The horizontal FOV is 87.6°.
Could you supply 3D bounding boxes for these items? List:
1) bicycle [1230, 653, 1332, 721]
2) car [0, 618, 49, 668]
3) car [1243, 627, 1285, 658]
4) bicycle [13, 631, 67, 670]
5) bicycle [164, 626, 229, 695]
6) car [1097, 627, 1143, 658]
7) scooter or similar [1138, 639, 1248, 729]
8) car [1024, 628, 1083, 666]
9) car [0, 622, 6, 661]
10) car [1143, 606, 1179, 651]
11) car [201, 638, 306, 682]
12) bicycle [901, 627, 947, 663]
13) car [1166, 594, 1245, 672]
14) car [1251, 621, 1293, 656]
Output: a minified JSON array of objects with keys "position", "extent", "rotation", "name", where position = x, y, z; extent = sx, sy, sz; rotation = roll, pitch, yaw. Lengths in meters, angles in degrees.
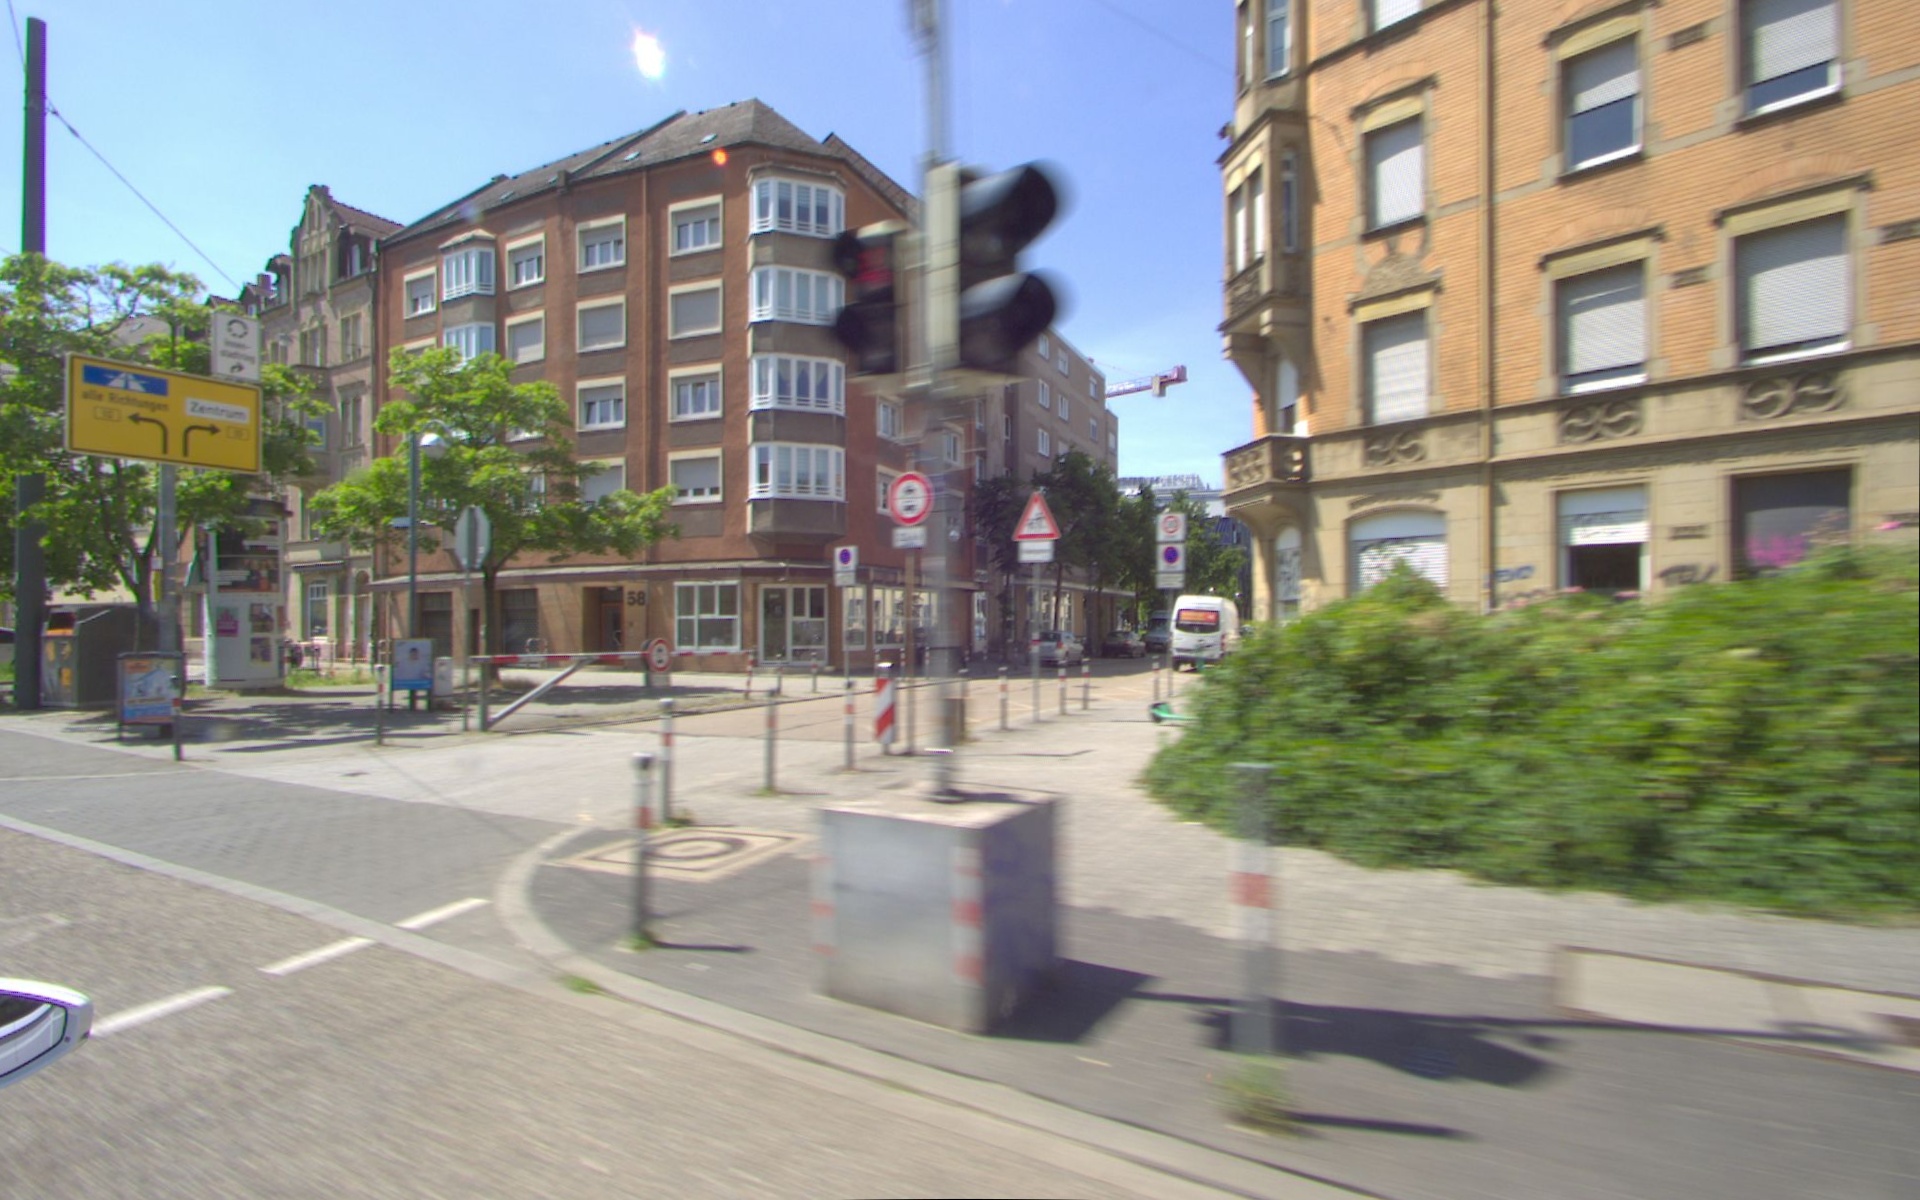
[{"position":[5.077,1.357,15.865],"extent":[1.469,1.005,0.488],"rotation":[-1,-3,38],"name":"bicycle"},{"position":[-33.236,1.404,33.064],"extent":[1.961,1.652,4.415],"rotation":[0,-3,7],"name":"car"},{"position":[17.340,2.418,57.011],"extent":[1.806,1.705,3.990],"rotation":[0,-3,24],"name":"car"},{"position":[-29.601,1.629,32.264],"extent":[0.730,1.208,2.349],"rotation":[2,-3,-29],"name":"bicycle"},{"position":[-14.899,1.162,19.532],"extent":[1.525,1.306,0.513],"rotation":[-1,-2,34],"name":"bicycle"},{"position":[8.253,2.194,51.527],"extent":[1.633,1.511,3.828],"rotation":[0,-3,20],"name":"car"},{"position":[3.330,1.177,14.340],"extent":[1.469,1.220,0.488],"rotation":[-1,-3,38],"name":"scooter or similar"},{"position":[3.828,1.912,40.647],"extent":[1.573,1.482,3.438],"rotation":[0,-3,20],"name":"car"},{"position":[-35.839,1.404,34.521],"extent":[1.788,1.417,4.002],"rotation":[0,-3,8],"name":"car"},{"position":[12.433,1.809,61.753],"extent":[1.633,2.672,3.828],"rotation":[0,-3,20],"name":"car"},{"position":[-27.831,2.330,39.413],"extent":[4.539,1.620,1.988],"rotation":[-1,-3,36],"name":"car"},{"position":[-1.343,1.698,37.852],"extent":[0.693,1.303,2.718],"rotation":[0,-3,22],"name":"bicycle"},{"position":[9.088,1.258,36.707],"extent":[1.967,2.654,5.207],"rotation":[0,-3,23],"name":"car"},{"position":[19.351,2.413,61.949],"extent":[1.967,2.061,4.818],"rotation":[0,-3,23],"name":"car"}]
